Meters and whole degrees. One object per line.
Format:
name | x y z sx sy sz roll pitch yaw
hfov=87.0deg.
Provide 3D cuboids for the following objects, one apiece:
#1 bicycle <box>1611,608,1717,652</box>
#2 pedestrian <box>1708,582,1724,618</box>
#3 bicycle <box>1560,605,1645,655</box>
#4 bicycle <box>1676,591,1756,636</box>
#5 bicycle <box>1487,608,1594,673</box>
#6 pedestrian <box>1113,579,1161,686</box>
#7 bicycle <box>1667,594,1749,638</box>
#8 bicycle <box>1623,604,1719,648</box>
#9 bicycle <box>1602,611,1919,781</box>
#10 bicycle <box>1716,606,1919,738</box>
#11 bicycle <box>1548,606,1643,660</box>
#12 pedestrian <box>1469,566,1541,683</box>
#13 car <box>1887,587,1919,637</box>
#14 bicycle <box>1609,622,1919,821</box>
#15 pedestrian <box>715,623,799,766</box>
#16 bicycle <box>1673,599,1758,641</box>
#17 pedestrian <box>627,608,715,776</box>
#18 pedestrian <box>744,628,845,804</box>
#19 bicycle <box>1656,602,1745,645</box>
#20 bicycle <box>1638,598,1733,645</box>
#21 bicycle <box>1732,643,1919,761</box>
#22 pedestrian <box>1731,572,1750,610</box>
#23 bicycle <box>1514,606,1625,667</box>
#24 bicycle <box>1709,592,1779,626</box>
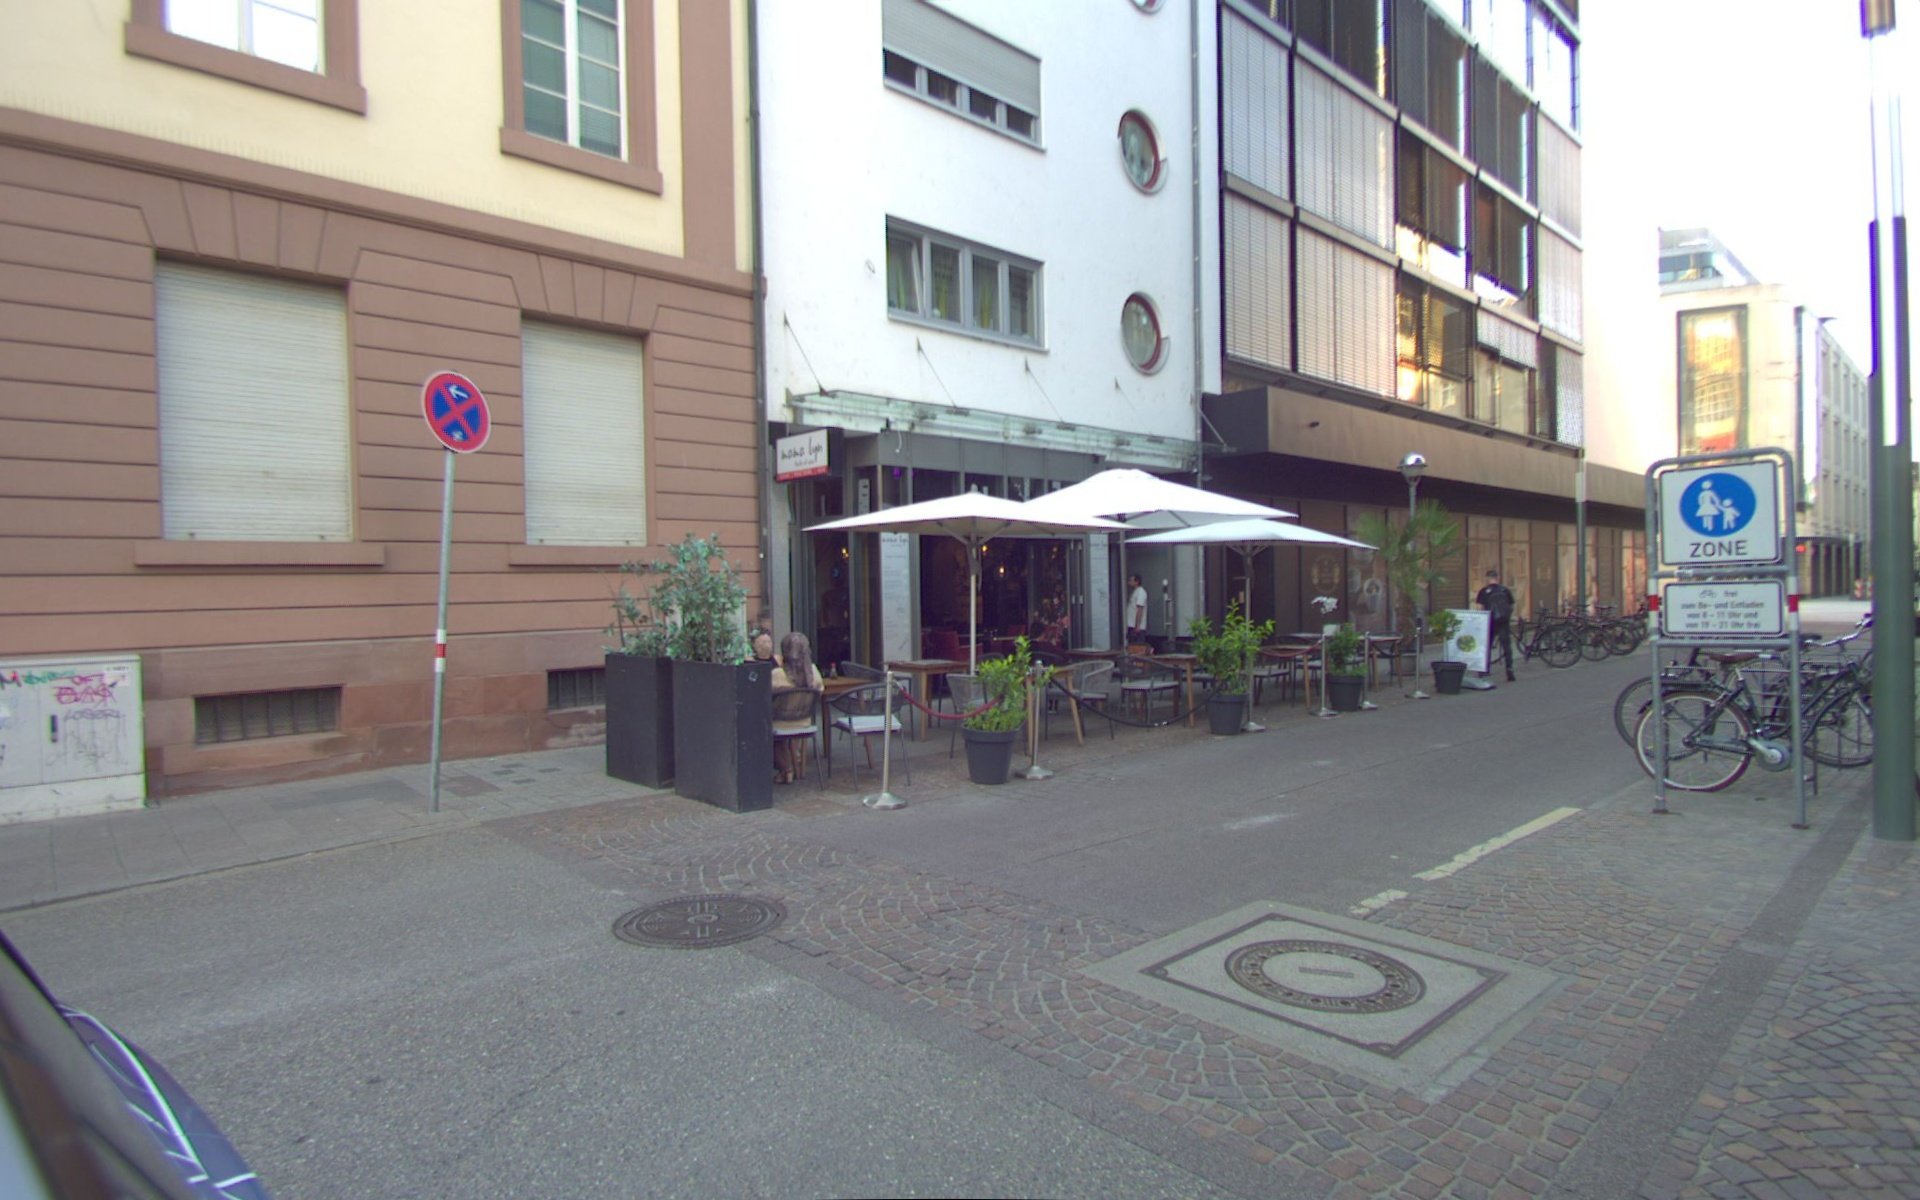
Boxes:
bicycle | 16.181 0.681 23.298 0.459 0.964 1.947 -1 0 -44
pedestrian | 32.349 -0.002 43.329 0.477 1.564 0.430 -1 0 31
bicycle | 13.712 0.636 21.631 0.459 1.013 1.457 -1 0 -44
bicycle | 21.271 0.381 28.499 0.459 1.238 1.735 -1 0 -44
bicycle | 10.289 0.699 17.961 0.540 1.093 1.544 -1 0 -44
pedestrian | 2.854 0.519 16.285 0.620 1.678 0.666 -1 0 20
bicycle | 20.600 0.442 27.890 0.459 1.154 1.735 -1 0 -44
bicycle | 16.982 0.620 24.194 0.523 1.016 1.797 -1 0 -44
bicycle | 6.164 0.700 7.869 0.601 1.159 1.843 -1 -2 -44
bicycle | 8.330 0.655 9.473 0.548 1.153 1.913 -1 -1 -44
bicycle | 12.920 0.662 20.616 0.459 1.045 1.557 -1 0 -44
pedestrian | 8.690 0.386 16.168 0.733 1.798 0.965 -1 0 13
car | 25.408 0.278 26.115 3.431 1.231 1.632 -1 0 -38
bicycle | 5.305 0.735 6.573 0.699 1.121 1.675 -1 -2 -44
pedestrian | -1.841 0.832 9.172 0.541 1.220 0.525 -1 0 -41
bicycle | 19.924 0.519 26.709 0.459 1.059 1.735 -1 0 -44
pedestrian | -2.466 0.756 8.624 0.541 1.359 0.489 -1 0 -41
pedestrian | -1.225 0.827 7.478 0.553 1.221 0.462 -1 0 -41
bicycle | 19.002 0.600 26.012 0.459 1.059 1.779 -1 0 -44
bicycle | 18.037 0.531 25.179 0.459 1.144 1.850 -1 0 -44
bicycle | 7.483 0.813 8.258 0.447 0.902 1.795 -1 -2 -44
pedestrian | 33.271 -0.381 43.152 0.470 1.584 0.380 -1 0 -4
bicycle | 11.662 0.686 19.403 0.540 1.100 1.729 -1 0 -44
bicycle | 25.432 0.298 32.845 0.430 1.069 1.735 -1 0 -44
